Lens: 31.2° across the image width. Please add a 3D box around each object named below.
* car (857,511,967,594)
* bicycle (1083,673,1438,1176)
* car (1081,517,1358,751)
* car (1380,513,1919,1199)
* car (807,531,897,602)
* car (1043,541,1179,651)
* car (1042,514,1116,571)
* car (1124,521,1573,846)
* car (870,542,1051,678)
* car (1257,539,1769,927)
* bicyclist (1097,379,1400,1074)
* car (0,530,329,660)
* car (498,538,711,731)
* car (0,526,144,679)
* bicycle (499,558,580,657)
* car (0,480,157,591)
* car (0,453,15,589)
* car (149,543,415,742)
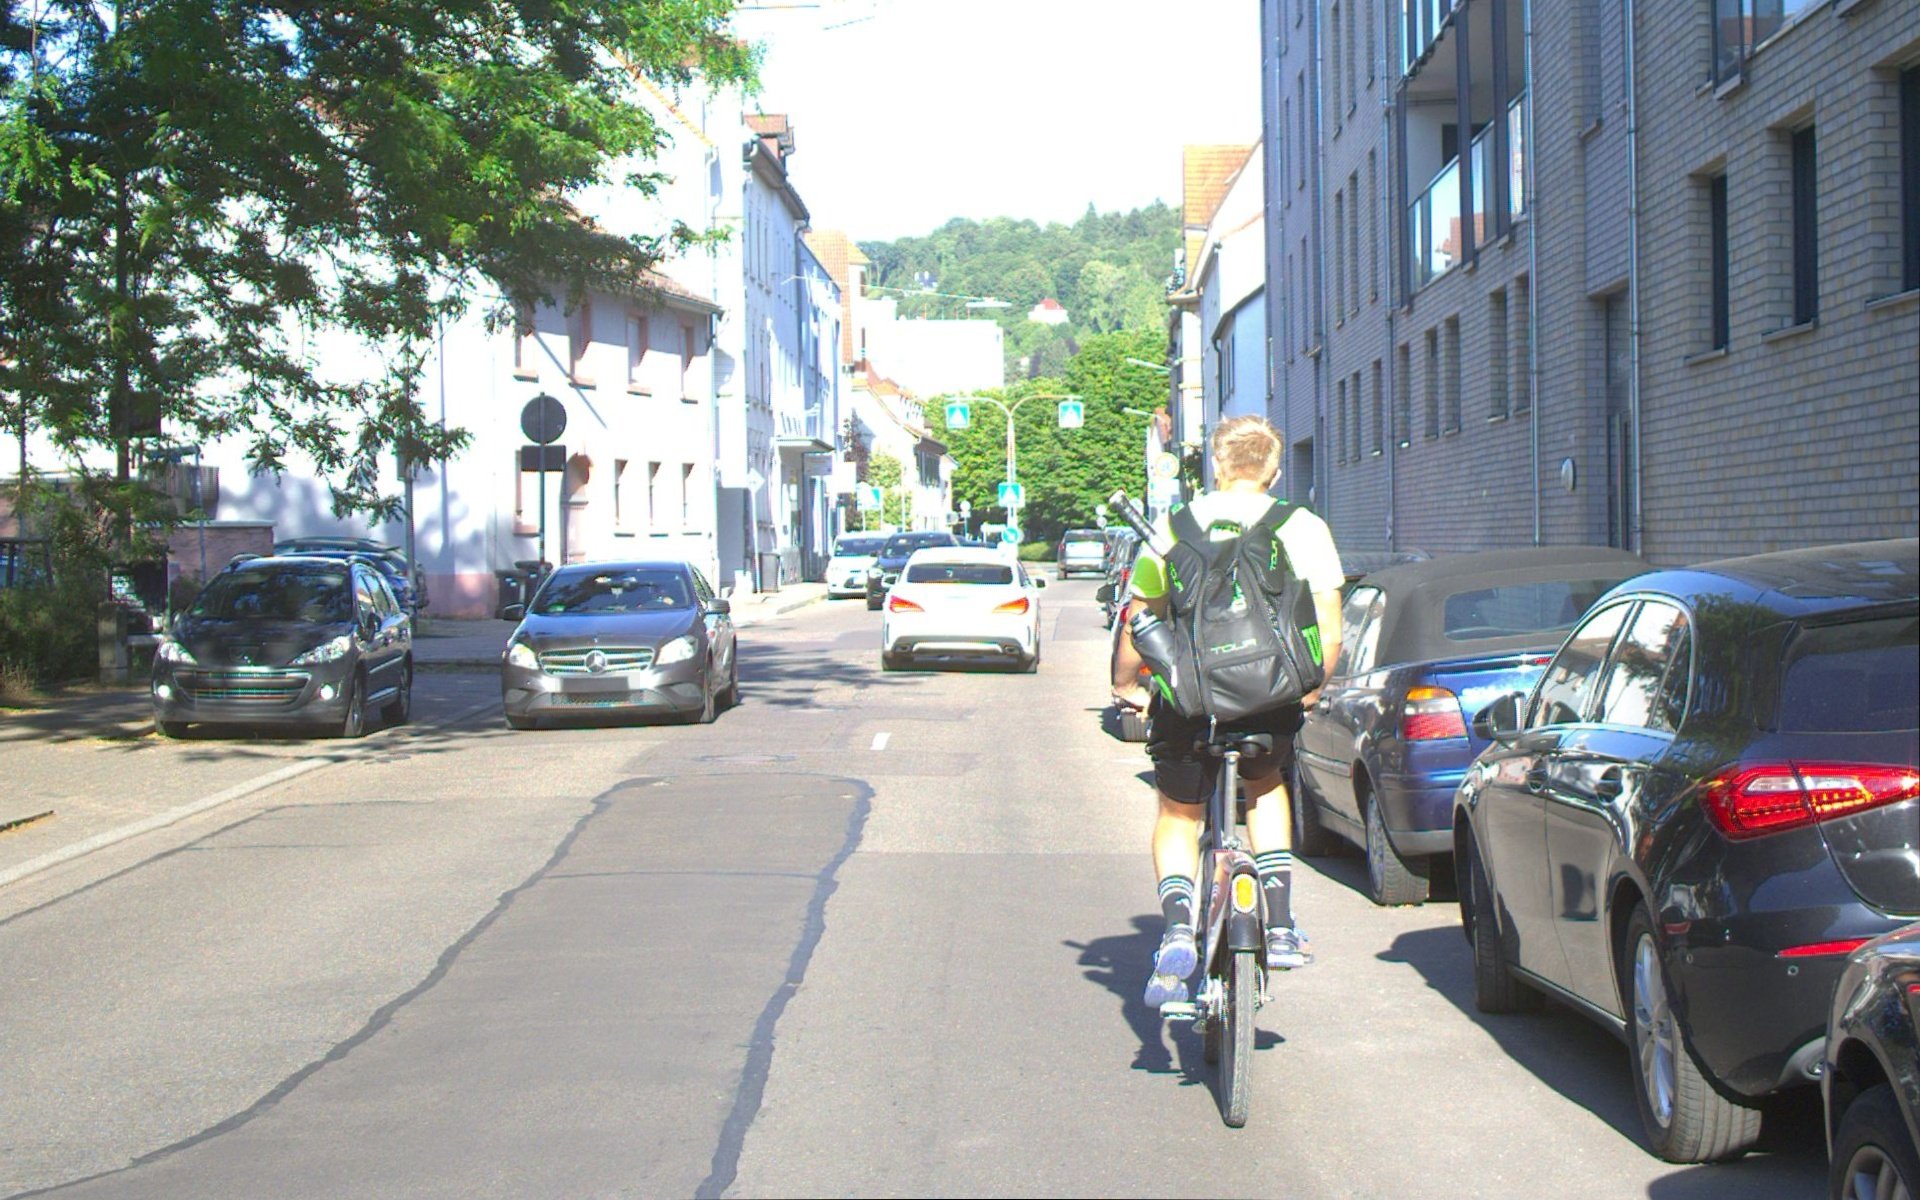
[{"bbox_3d":[-0.982,-1.021,72.777,1.945,1.581,4.621,-4,1,3],"label":"car"},{"bbox_3d":[0.766,0.805,9.460,0.698,1.126,2.403,0,1,-1],"label":"bicycle"},{"bbox_3d":[2.096,0.227,28.980,1.857,1.696,4.622,-4,1,0],"label":"car"},{"bbox_3d":[2.474,0.552,9.913,1.857,1.581,4.622,-1,1,-1],"label":"car"},{"bbox_3d":[-2.662,-0.856,85.682,1.945,1.581,4.621,-4,1,1],"label":"car"},{"bbox_3d":[2.394,-0.101,55.411,1.857,1.581,4.622,-4,1,0],"label":"car"},{"bbox_3d":[3.846,-1.885,111.505,1.853,1.785,4.608,-1,1,-5],"label":"car"},{"bbox_3d":[2.146,0.402,20.304,1.857,1.581,4.622,-4,1,-2],"label":"car"},{"bbox_3d":[-0.048,0.085,40.191,1.842,1.486,4.145,-1,1,-4],"label":"car"},{"bbox_3d":[2.350,0.501,15.410,1.508,1.439,3.530,-4,1,-2],"label":"car"},{"bbox_3d":[0.765,0.319,9.378,0.698,1.784,1.041,0,0,-1],"label":"bicyclist"},{"bbox_3d":[-10.157,-0.079,43.769,3.901,1.570,1.710,-1,1,0],"label":"car"},{"bbox_3d":[-3.102,0.253,30.585,1.664,1.570,3.914,-1,1,-3],"label":"car"},{"bbox_3d":[-10.895,0.022,36.655,3.902,1.570,1.709,0,1,6],"label":"car"},{"bbox_3d":[-5.486,0.074,44.989,0.835,1.213,2.842,-1,1,-3],"label":"bicycle"},{"bbox_3d":[-13.771,-0.932,50.115,3.900,1.570,1.710,-1,1,-9],"label":"car"},{"bbox_3d":[-13.030,-0.889,39.385,3.901,1.570,1.710,-1,1,3],"label":"car"},{"bbox_3d":[-5.811,0.311,29.860,1.704,1.570,3.914,-1,1,-3],"label":"car"}]
